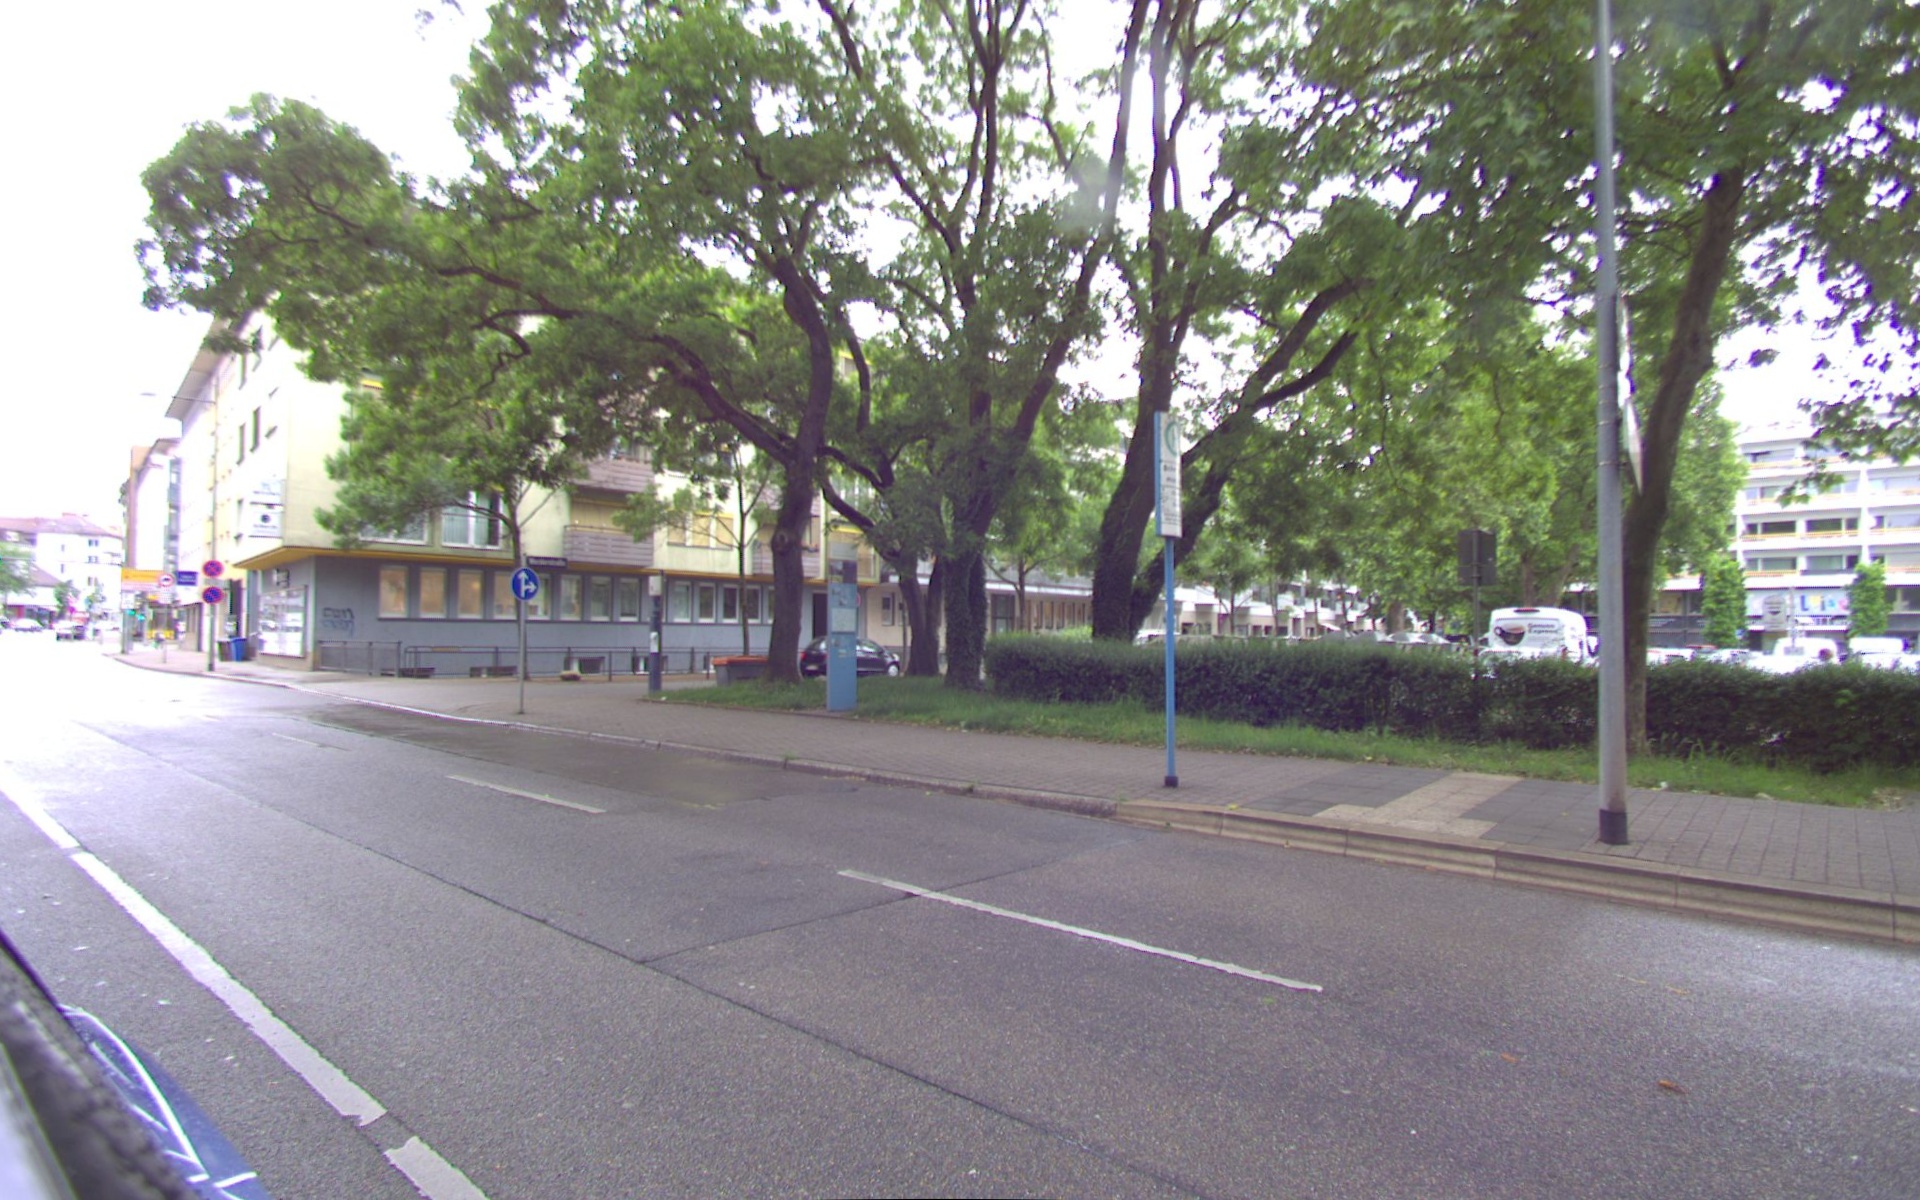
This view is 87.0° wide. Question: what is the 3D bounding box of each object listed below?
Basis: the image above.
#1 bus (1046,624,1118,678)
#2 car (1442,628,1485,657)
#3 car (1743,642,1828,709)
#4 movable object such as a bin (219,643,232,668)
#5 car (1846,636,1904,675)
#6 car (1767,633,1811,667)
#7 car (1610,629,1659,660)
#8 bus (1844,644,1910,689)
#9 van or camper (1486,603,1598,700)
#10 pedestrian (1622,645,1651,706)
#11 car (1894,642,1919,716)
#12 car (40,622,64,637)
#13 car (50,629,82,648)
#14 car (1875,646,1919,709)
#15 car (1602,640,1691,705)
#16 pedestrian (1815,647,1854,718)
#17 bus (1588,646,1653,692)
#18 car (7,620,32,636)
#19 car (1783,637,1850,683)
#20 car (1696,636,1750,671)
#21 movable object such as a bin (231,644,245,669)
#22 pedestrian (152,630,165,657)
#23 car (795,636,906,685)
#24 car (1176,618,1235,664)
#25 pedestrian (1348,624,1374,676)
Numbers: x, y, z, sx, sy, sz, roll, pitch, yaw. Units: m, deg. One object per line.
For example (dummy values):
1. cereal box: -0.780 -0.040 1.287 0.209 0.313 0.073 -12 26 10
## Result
1. bus: 4.714 1.960 38.738 1.703 1.939 3.697 0 -3 24
2. car: 27.187 2.279 54.579 1.428 1.439 2.926 -2 -1 40
3. car: 19.241 1.720 23.558 1.391 1.446 3.227 -2 -4 41
4. movable object such as a bin: -30.226 2.275 41.648 0.333 1.037 0.354 3 -4 -42
5. car: 40.179 2.415 44.491 1.639 1.536 3.161 -1 0 38
6. car: 41.986 2.489 51.296 1.639 1.536 3.161 -1 0 38
7. car: 32.480 2.145 48.713 1.604 1.439 3.275 -1 -3 40
8. bus: 33.162 2.382 36.659 1.604 1.551 3.385 -1 -3 40
9. van or camper: 16.848 1.467 29.202 2.097 2.556 4.367 -1 -3 40
10. pedestrian: 14.055 1.561 21.028 0.465 1.222 0.433 -1 0 34
11. car: 20.360 1.623 20.939 1.391 1.446 3.227 -2 -4 41
12. car: -107.362 3.465 119.642 4.002 1.670 1.842 -2 -4 45
13. car: -82.267 3.525 93.110 4.002 1.730 1.863 -2 -4 45
14. car: 23.419 1.882 24.798 1.391 1.446 3.227 -2 -4 41
15. car: 16.736 1.736 24.613 1.391 1.446 3.227 -2 -4 41
16. pedestrian: 15.677 1.473 18.147 0.465 1.222 0.433 -1 0 34
17. bus: 24.158 2.483 36.966 1.604 1.551 3.385 -1 -3 40
18. car: -109.788 3.276 118.106 4.002 1.866 1.971 -2 -4 45
19. car: 28.176 1.955 33.345 1.604 1.439 3.275 -1 -3 40
20. car: 35.722 2.473 47.358 1.837 1.435 3.780 -1 0 39
21. movable object such as a bin: -29.887 2.327 41.888 0.409 1.037 0.354 3 -4 -42
22. pedestrian: -54.703 2.969 69.100 0.586 1.858 0.565 3 -4 -42
23. car: -3.563 2.005 33.317 1.571 1.500 3.519 -1 -4 39
24. car: 11.565 1.935 47.508 1.988 2.029 3.967 0 -3 24
25. pedestrian: 9.569 1.189 24.164 0.484 1.222 0.433 -1 0 34
